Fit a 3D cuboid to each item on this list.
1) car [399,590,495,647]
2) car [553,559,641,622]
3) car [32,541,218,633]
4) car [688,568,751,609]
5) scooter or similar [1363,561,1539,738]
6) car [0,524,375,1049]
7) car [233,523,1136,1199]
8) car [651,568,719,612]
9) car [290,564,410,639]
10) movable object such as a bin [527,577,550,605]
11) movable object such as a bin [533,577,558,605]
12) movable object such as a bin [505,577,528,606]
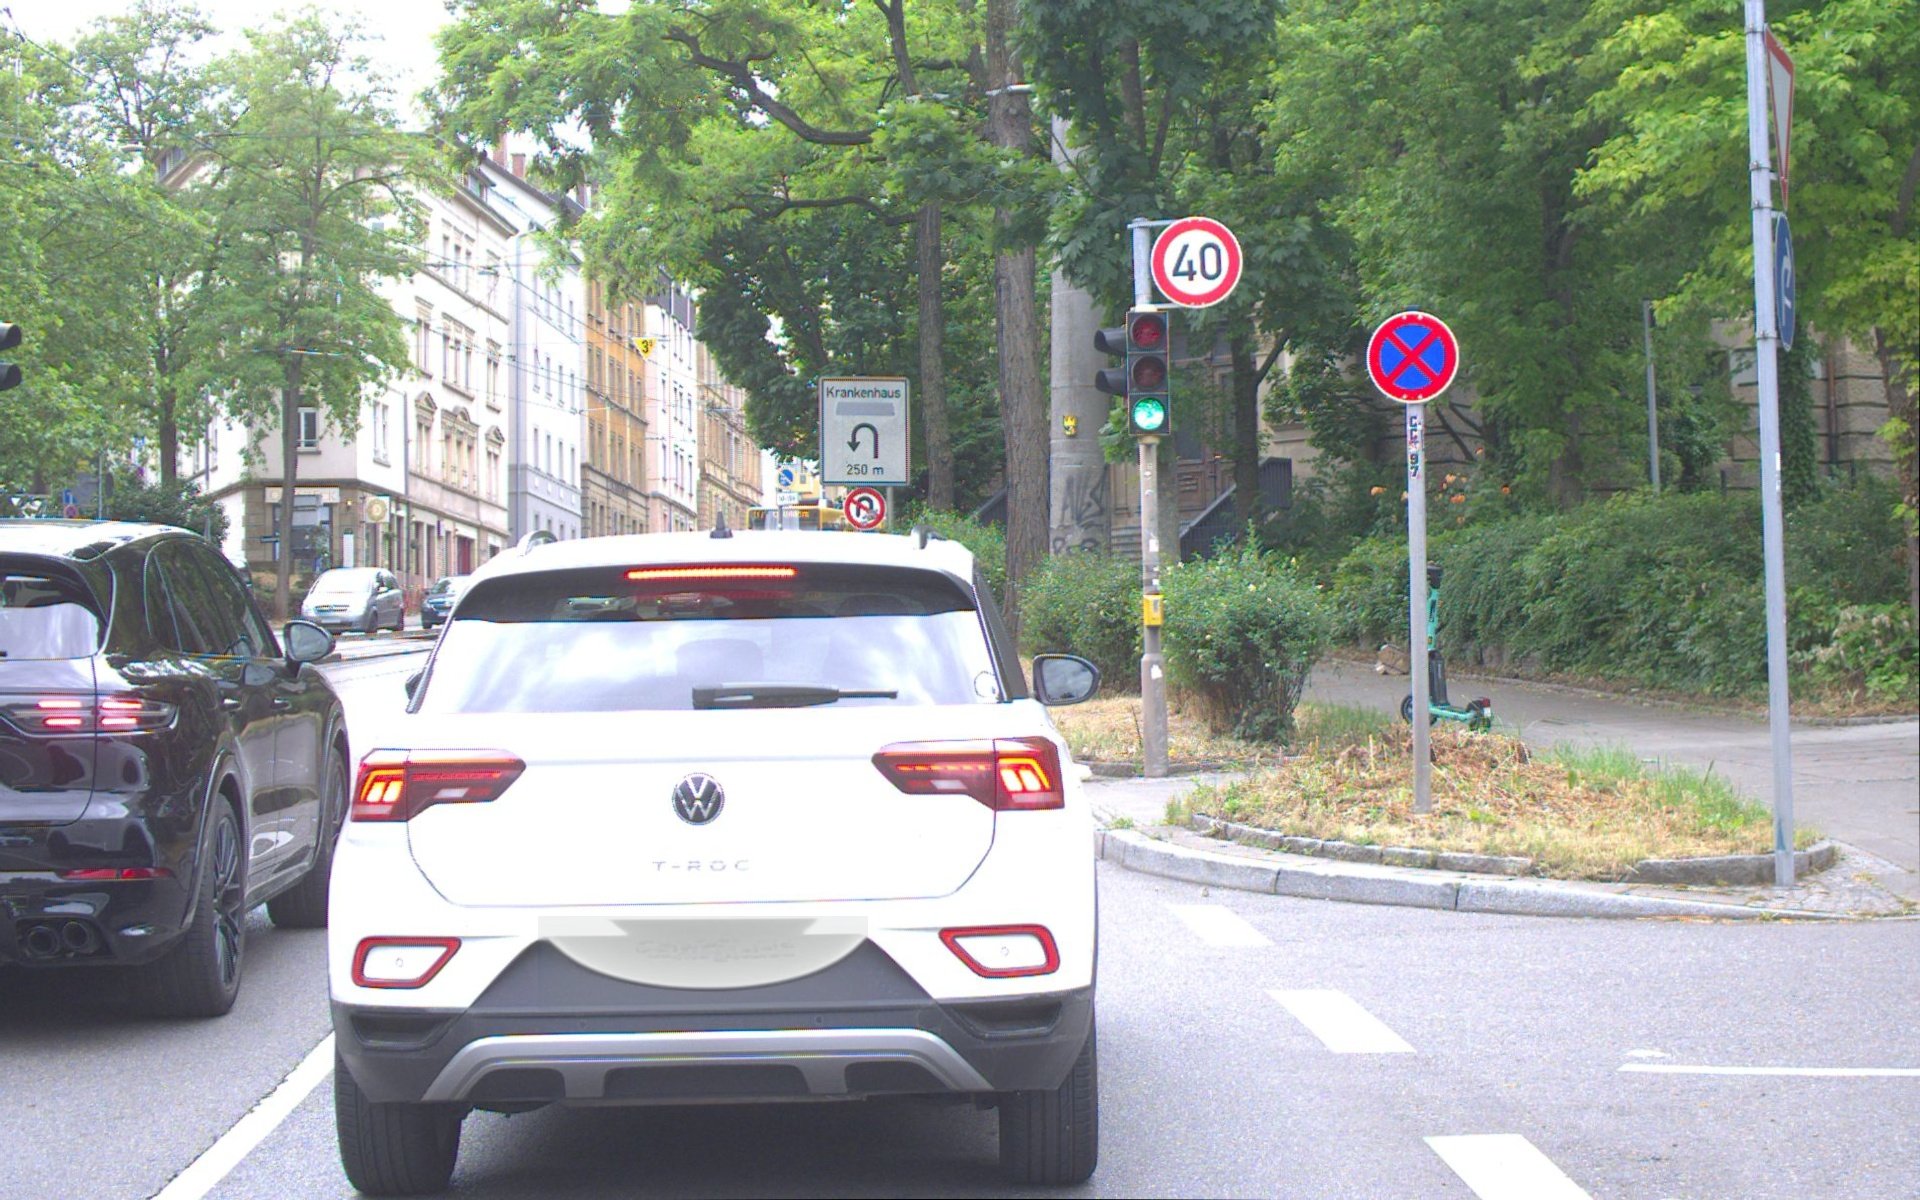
[{"bbox_3d":[-13.522,0.472,90.807,1.766,1.403,4.082,-1,1,2],"label":"car"},{"bbox_3d":[-11.703,-0.331,111.110,1.947,1.939,5.002,-1,1,4],"label":"car"},{"bbox_3d":[-15.393,-0.270,63.607,1.994,1.599,4.609,-1,1,4],"label":"car"},{"bbox_3d":[-9.485,-0.460,135.825,1.994,1.547,4.000,-1,1,3],"label":"car"},{"bbox_3d":[3.480,0.338,24.491,0.630,1.206,1.558,-1,0,-16],"label":"scooter or similar"},{"bbox_3d":[-3.393,0.549,12.453,2.037,1.566,4.359,-1,1,-3],"label":"car"},{"bbox_3d":[-0.615,0.606,9.233,1.879,1.549,4.000,-1,1,-1],"label":"car"},{"bbox_3d":[-10.145,-0.382,127.124,1.994,1.547,4.000,-1,1,3],"label":"car"},{"bbox_3d":[-13.900,0.021,78.505,1.993,1.612,4.000,-1,1,0],"label":"car"},{"bbox_3d":[-16.063,-0.340,131.009,0.728,1.070,0.671,-1,0,5],"label":"movable object such as a bin"},{"bbox_3d":[-15.950,-0.352,132.273,0.825,1.070,0.697,-1,0,5],"label":"movable object such as a bin"},{"bbox_3d":[-16.357,-0.303,126.779,0.687,1.070,0.676,-1,0,5],"label":"movable object such as a bin"}]
